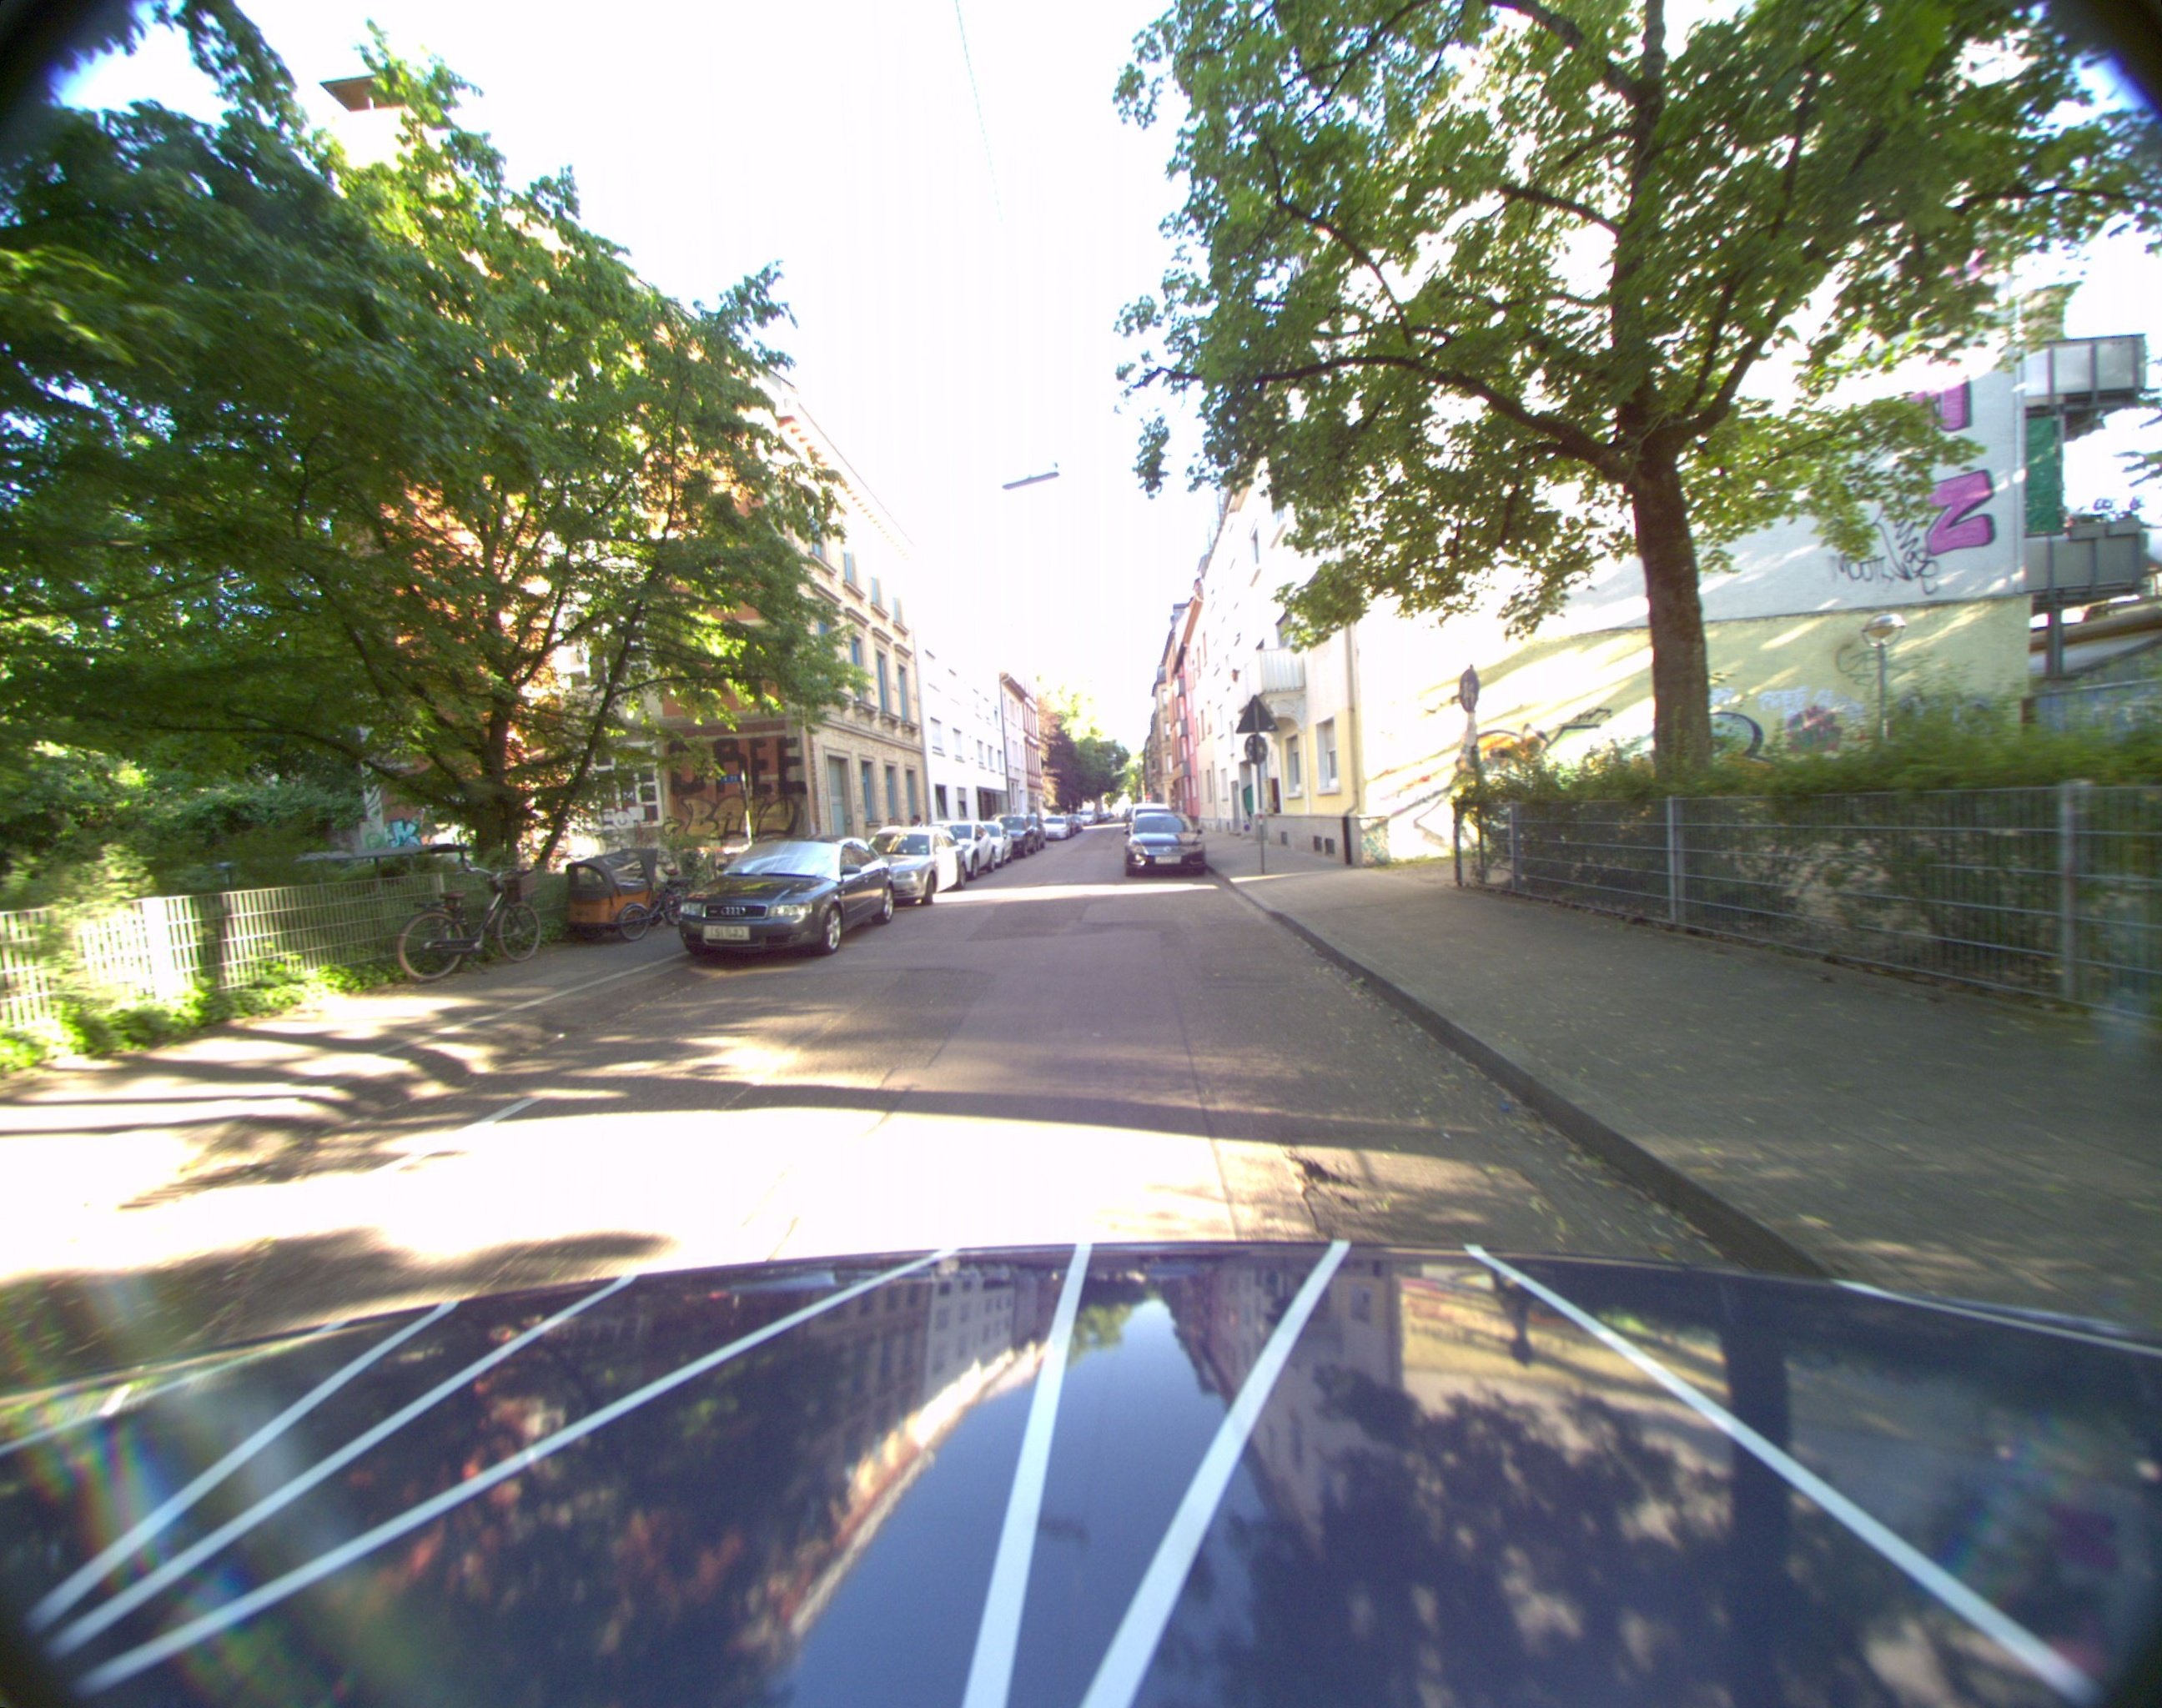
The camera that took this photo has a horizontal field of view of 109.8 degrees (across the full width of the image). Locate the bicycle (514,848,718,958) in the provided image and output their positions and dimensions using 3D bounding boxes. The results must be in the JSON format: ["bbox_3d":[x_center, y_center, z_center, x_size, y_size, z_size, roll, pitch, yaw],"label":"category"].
[{"bbox_3d":[-6.630,0.633,11.081,1.293,1.295,2.326,-1,4,6],"label":"bicycle"}]

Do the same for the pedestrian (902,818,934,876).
[{"bbox_3d":[-4.825,-0.217,22.477,0.712,1.700,0.752,0,4,3],"label":"pedestrian"}]

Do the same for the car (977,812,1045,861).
[{"bbox_3d":[-2.639,-0.755,29.660,1.769,1.658,4.327,-3,3,5],"label":"car"}]

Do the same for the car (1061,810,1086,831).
[{"bbox_3d":[-0.579,-2.735,61.461,1.768,1.525,4.101,-1,4,3],"label":"car"}]

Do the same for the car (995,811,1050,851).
[{"bbox_3d":[-2.612,-1.110,34.817,1.885,1.658,4.326,-1,4,3],"label":"car"}]

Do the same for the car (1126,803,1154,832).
[{"bbox_3d":[3.939,-2.507,50.956,1.768,1.815,4.101,-1,4,3],"label":"car"}]

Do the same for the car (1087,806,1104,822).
[{"bbox_3d":[1.854,-5.031,95.199,1.768,1.847,4.283,-4,4,4],"label":"car"}]

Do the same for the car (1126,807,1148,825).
[{"bbox_3d":[4.832,-3.326,66.119,1.768,1.525,4.101,-1,4,3],"label":"car"}]

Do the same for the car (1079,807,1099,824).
[{"bbox_3d":[0.975,-4.516,88.663,1.865,1.971,4.480,-1,4,7],"label":"car"}]

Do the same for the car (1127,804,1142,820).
[{"bbox_3d":[6.700,-5.279,94.892,1.768,1.847,3.991,-1,4,3],"label":"car"}]

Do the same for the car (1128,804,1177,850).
[{"bbox_3d":[2.920,-1.192,31.638,1.753,1.732,4.312,-1,4,2],"label":"car"}]

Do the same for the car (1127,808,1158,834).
[{"bbox_3d":[3.667,-2.011,45.636,1.768,1.464,3.814,-1,4,3],"label":"car"}]

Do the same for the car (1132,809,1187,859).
[{"bbox_3d":[2.501,-0.706,24.371,1.597,1.443,3.484,-1,4,5],"label":"car"}]

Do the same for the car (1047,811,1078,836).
[{"bbox_3d":[-1.228,-2.094,51.893,1.768,1.525,4.101,-2,4,3],"label":"car"}]

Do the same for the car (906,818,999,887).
[{"bbox_3d":[-3.365,-0.120,20.566,1.597,1.577,3.762,-2,3,3],"label":"car"}]

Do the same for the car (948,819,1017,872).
[{"bbox_3d":[-3.125,-0.342,24.858,1.597,1.443,4.001,-2,4,1],"label":"car"}]

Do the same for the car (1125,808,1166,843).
[{"bbox_3d":[3.163,-1.425,36.561,1.674,1.520,4.085,-1,4,9],"label":"car"}]

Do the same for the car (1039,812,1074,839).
[{"bbox_3d":[-1.481,-1.802,47.386,1.768,1.509,4.101,-1,4,3],"label":"car"}]

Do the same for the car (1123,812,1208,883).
[{"bbox_3d":[1.916,-0.250,18.359,1.783,1.436,4.390,-1,4,3],"label":"car"}]

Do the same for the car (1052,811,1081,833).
[{"bbox_3d":[-1.027,-2.405,56.341,1.768,1.525,4.101,-2,4,3],"label":"car"}]

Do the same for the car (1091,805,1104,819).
[{"bbox_3d":[2.536,-6.271,113.799,1.768,2.007,4.262,-1,4,3],"label":"car"}]

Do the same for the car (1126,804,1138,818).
[{"bbox_3d":[7.753,-6.586,115.594,1.768,2.076,4.262,-1,4,3],"label":"car"}]

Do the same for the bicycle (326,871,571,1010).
[{"bbox_3d":[-6.884,0.879,8.460,0.848,1.194,1.981,-3,3,5],"label":"bicycle"}]

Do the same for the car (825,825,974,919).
[{"bbox_3d":[-3.481,0.248,15.494,1.663,1.486,4.351,-2,4,4],"label":"car"}]

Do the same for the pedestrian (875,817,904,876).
[{"bbox_3d":[-5.625,-0.225,22.390,0.598,1.700,0.706,0,4,3],"label":"pedestrian"}]

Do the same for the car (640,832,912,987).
[{"bbox_3d":[-3.819,0.549,10.495,1.725,1.486,4.412,-2,4,2],"label":"car"}]
